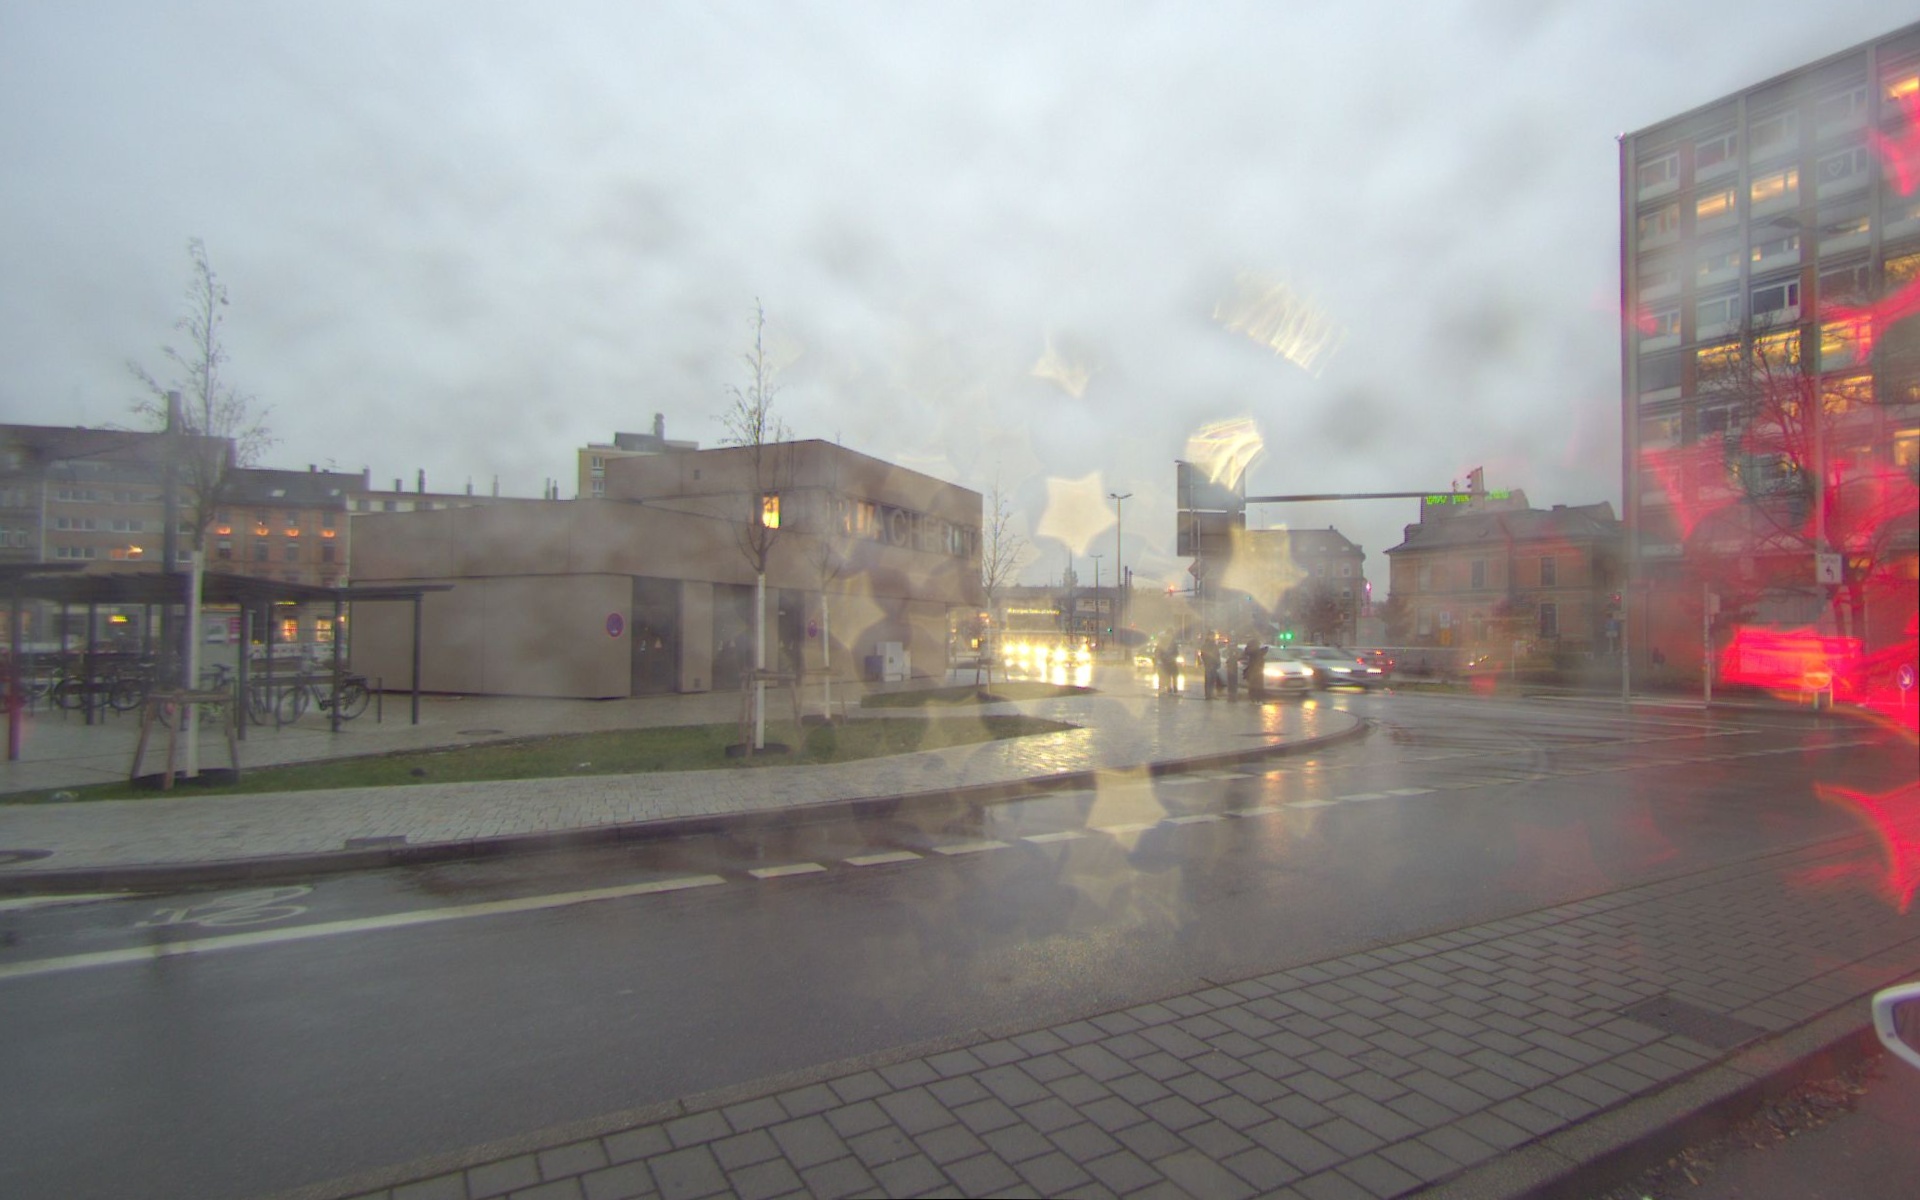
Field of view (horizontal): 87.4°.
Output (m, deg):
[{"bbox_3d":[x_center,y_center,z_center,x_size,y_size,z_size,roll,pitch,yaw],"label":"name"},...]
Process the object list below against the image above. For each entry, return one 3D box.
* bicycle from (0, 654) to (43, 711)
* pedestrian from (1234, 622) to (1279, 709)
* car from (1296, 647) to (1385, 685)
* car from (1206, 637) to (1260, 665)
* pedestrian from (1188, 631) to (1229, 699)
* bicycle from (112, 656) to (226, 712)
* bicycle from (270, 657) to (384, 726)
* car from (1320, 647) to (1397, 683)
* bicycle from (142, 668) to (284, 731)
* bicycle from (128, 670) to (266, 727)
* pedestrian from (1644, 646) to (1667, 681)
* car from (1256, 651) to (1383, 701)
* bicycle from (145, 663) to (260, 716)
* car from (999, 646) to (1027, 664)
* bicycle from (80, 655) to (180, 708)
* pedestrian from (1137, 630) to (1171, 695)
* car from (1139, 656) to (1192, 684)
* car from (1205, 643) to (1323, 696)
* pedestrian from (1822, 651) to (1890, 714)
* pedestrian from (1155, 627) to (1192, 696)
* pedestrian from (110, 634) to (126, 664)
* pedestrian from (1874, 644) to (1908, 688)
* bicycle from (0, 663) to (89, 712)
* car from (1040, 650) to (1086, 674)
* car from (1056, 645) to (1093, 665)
[{"bbox_3d":[-19.395,1.633,19.841,0.466,1.122,1.797,1,-2,29],"label":"bicycle"},{"bbox_3d":[7.198,1.579,24.386,0.971,2.047,0.802,-1,-2,19],"label":"pedestrian"},{"bbox_3d":[18.807,3.249,49.788,1.802,1.589,3.975,2,0,-24],"label":"car"},{"bbox_3d":[19.619,3.655,72.356,3.514,1.850,1.672,2,0,8],"label":"car"},{"bbox_3d":[6.587,1.706,26.630,0.838,1.778,0.659,0,-2,-14],"label":"pedestrian"},{"bbox_3d":[-16.531,1.736,21.042,0.466,1.087,1.830,1,-2,26],"label":"bicycle"},{"bbox_3d":[-11.751,1.676,18.722,0.605,1.172,1.755,1,-2,20],"label":"bicycle"},{"bbox_3d":[20.495,3.310,51.820,1.795,1.589,3.991,2,0,-11],"label":"car"},{"bbox_3d":[-12.937,1.703,17.462,0.466,0.989,1.923,1,-2,29],"label":"bicycle"},{"bbox_3d":[-13.588,1.738,17.954,0.466,0.903,1.923,1,-2,29],"label":"bicycle"},{"bbox_3d":[34.067,3.091,49.173,0.626,1.710,0.640,0,-2,-13],"label":"pedestrian"},{"bbox_3d":[12.289,2.565,34.665,1.905,1.572,4.688,1,-3,-13],"label":"car"},{"bbox_3d":[-15.181,1.778,20.177,0.466,0.968,1.767,1,-2,29],"label":"bicycle"},{"bbox_3d":[4.850,5.006,92.378,1.742,1.598,3.995,0,-2,-8],"label":"car"},{"bbox_3d":[-17.688,1.711,21.435,0.511,1.050,1.573,1,-2,19],"label":"bicycle"},{"bbox_3d":[5.442,1.741,28.201,0.544,1.793,0.734,1,-3,-43],"label":"pedestrian"},{"bbox_3d":[11.644,3.965,57.177,1.777,1.497,3.964,1,-3,-7],"label":"car"},{"bbox_3d":[9.048,2.095,30.205,1.716,1.467,3.704,0,-4,-15],"label":"car"},{"bbox_3d":[28.111,2.574,31.521,1.116,1.867,1.005,-3,-2,0],"label":"pedestrian"},{"bbox_3d":[5.873,1.685,27.647,0.671,1.863,0.726,1,-3,-42],"label":"pedestrian"},{"bbox_3d":[-59.010,3.421,70.402,0.695,2.040,0.586,0,-2,-21],"label":"pedestrian"},{"bbox_3d":[35.932,2.531,38.773,0.548,1.649,0.760,0,-2,-15],"label":"pedestrian"},{"bbox_3d":[-18.510,1.733,19.992,0.466,0.903,1.693,1,-2,24],"label":"bicycle"},{"bbox_3d":[6.760,4.085,66.226,1.779,1.496,4.585,1,-3,-10],"label":"car"},{"bbox_3d":[8.900,4.307,78.555,1.778,1.496,4.666,1,-3,-8],"label":"car"}]
